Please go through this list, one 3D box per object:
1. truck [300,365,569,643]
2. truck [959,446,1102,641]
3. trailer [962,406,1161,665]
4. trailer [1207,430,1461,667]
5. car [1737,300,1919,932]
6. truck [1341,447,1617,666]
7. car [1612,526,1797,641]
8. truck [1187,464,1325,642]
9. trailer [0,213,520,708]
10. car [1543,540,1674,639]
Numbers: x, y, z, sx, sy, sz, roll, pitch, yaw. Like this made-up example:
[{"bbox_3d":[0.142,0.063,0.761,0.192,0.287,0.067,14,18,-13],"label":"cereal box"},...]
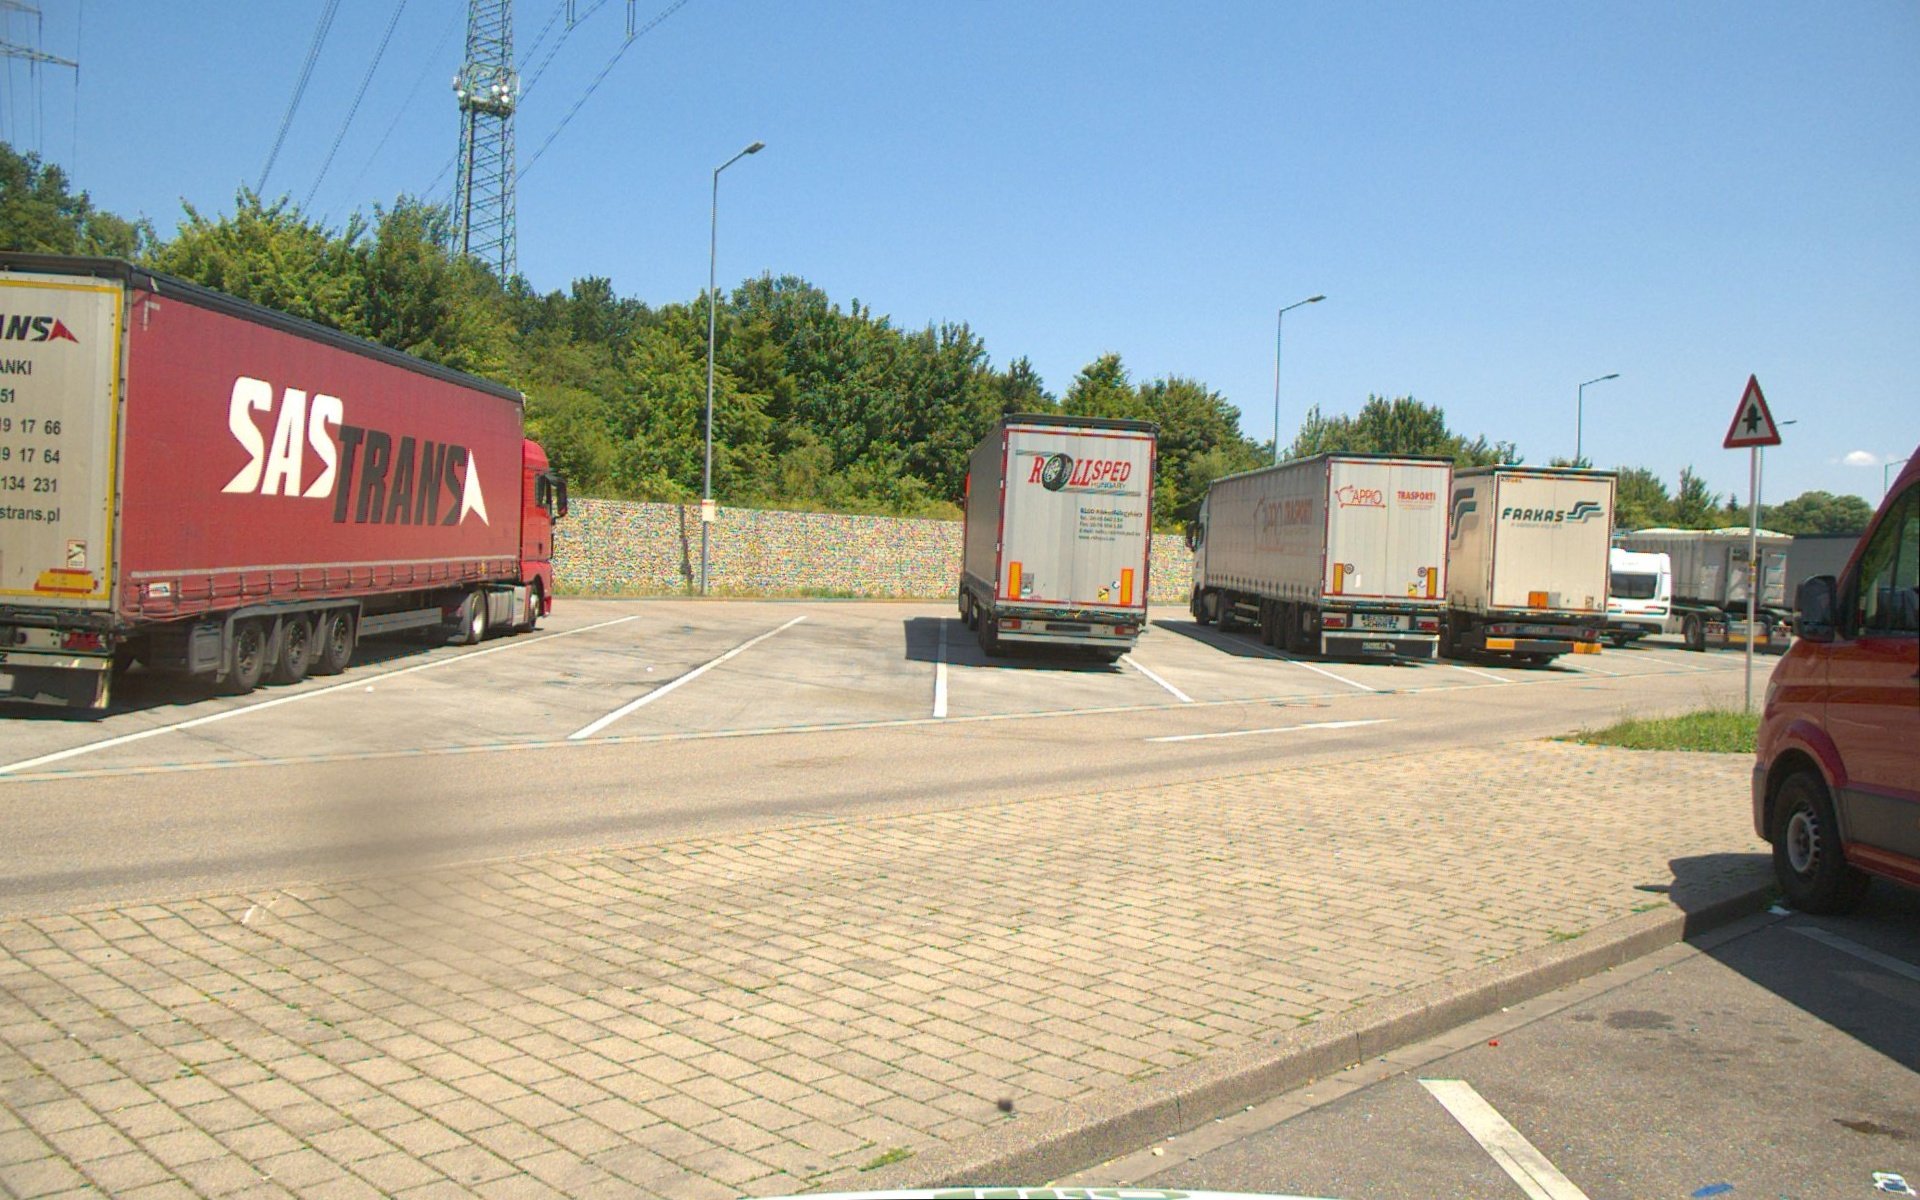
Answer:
[{"bbox_3d":[-8.723,-1.512,28.235,2.749,4.205,5.893,1,1,-1],"label":"truck"},{"bbox_3d":[1.477,-1.244,37.689,2.813,4.050,6.028,1,1,-2],"label":"truck"},{"bbox_3d":[1.631,-1.131,32.074,2.838,4.083,11.314,1,1,-1],"label":"trailer"},{"bbox_3d":[8.177,-1.104,38.332,2.627,4.530,12.826,1,1,-1],"label":"trailer"},{"bbox_3d":[4.980,0.102,5.577,1.952,2.679,6.385,1,1,3],"label":"car"},{"bbox_3d":[11.718,-0.842,38.916,2.534,4.299,11.967,1,0,-1],"label":"truck"},{"bbox_3d":[21.679,-0.508,48.558,2.448,3.128,6.350,1,1,-1],"label":"car"},{"bbox_3d":[8.022,-1.257,45.478,2.607,4.530,5.863,1,1,-1],"label":"truck"},{"bbox_3d":[-8.636,-1.342,20.979,2.743,4.293,13.200,1,1,-1],"label":"trailer"},{"bbox_3d":[18.237,-0.278,46.732,2.072,2.645,3.999,1,0,-1],"label":"car"}]
